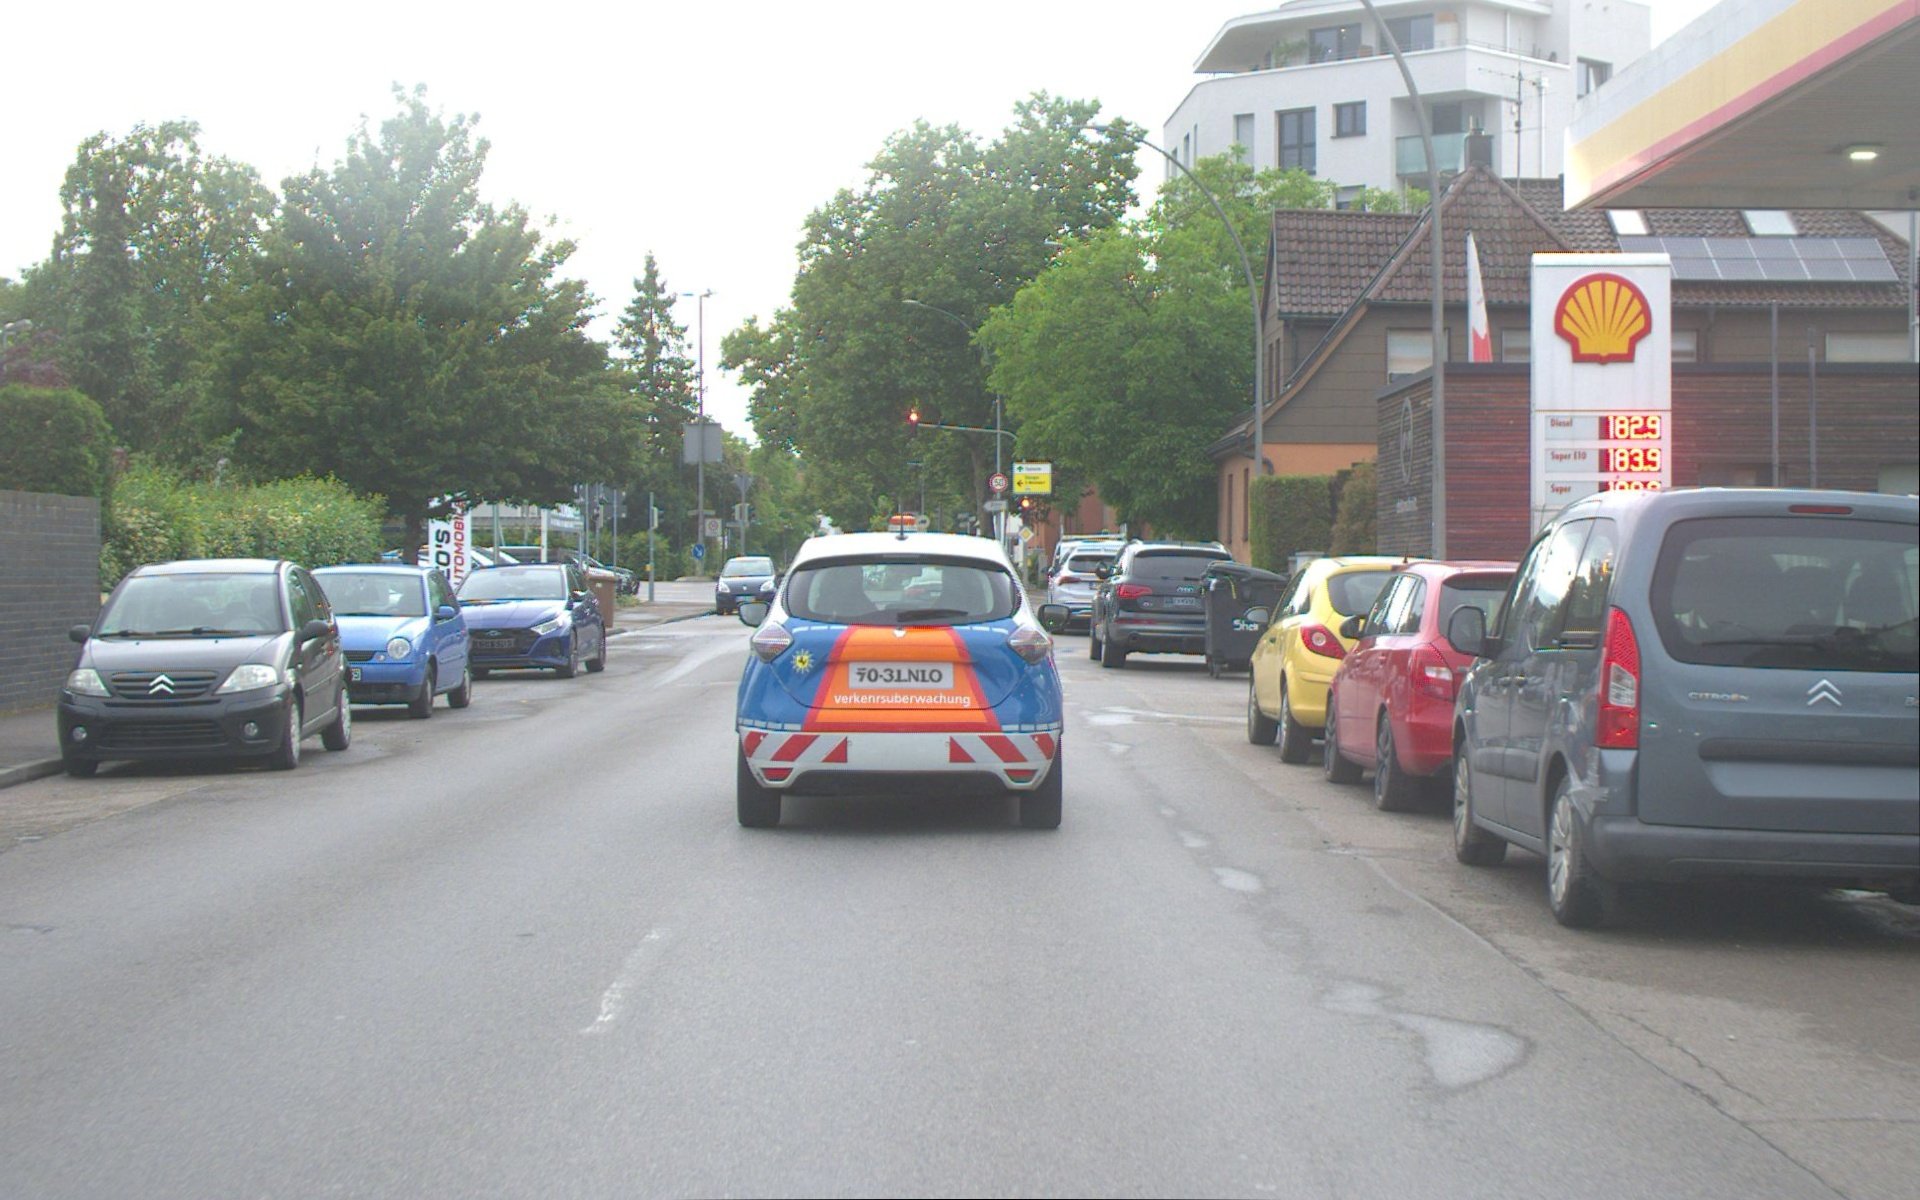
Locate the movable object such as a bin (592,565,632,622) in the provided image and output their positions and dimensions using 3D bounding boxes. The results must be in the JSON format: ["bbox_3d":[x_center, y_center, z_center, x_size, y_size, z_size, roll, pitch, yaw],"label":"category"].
[{"bbox_3d":[-6.982,-0.126,68.997,0.708,1.126,0.735,1,1,0],"label":"movable object such as a bin"}]

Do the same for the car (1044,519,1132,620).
[{"bbox_3d":[2.760,-0.692,74.021,1.778,2.022,4.754,2,2,2],"label":"car"}]

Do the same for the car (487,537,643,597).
[{"bbox_3d":[-10.800,-0.908,94.229,3.987,1.538,1.803,1,1,2],"label":"car"}]

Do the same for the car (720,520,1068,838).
[{"bbox_3d":[-0.349,0.352,19.328,1.746,1.575,4.000,0,2,0],"label":"car"}]

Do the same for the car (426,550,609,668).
[{"bbox_3d":[-5.603,0.080,43.939,1.807,1.398,3.945,-1,1,0],"label":"car"}]

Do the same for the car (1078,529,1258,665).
[{"bbox_3d":[2.770,-0.086,46.739,2.091,1.656,4.559,1,2,-1],"label":"car"}]

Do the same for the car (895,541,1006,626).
[{"bbox_3d":[-0.163,-0.368,70.159,1.994,1.568,4.000,2,2,3],"label":"car"}]

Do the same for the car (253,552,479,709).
[{"bbox_3d":[-5.704,0.257,33.353,1.545,1.398,3.597,-1,1,0],"label":"car"}]

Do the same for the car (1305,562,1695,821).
[{"bbox_3d":[3.140,0.475,20.712,1.656,1.372,4.025,0,1,-1],"label":"car"}]

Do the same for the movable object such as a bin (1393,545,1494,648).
[{"bbox_3d":[6.387,-0.056,45.489,1.101,1.335,1.385,0,1,-2],"label":"movable object such as a bin"}]

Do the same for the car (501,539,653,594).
[{"bbox_3d":[-10.779,-0.947,96.895,3.987,1.436,1.803,1,1,2],"label":"car"}]

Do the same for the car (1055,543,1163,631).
[{"bbox_3d":[2.905,-0.288,67.898,1.865,1.659,4.320,1,1,-1],"label":"car"}]

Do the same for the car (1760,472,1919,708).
[{"bbox_3d":[7.912,-0.116,27.679,1.819,1.753,4.001,0,1,-3],"label":"car"}]

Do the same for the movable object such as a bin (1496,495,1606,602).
[{"bbox_3d":[7.443,-0.651,43.368,1.101,1.335,1.385,0,1,-2],"label":"movable object such as a bin"}]

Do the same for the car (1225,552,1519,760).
[{"bbox_3d":[2.966,0.355,25.438,1.656,1.397,3.802,0,1,-1],"label":"car"}]

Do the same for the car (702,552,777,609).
[{"bbox_3d":[-5.755,-0.526,90.065,1.626,1.428,3.683,0,1,1],"label":"car"}]

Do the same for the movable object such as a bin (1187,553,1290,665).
[{"bbox_3d":[3.505,0.100,43.370,1.126,1.383,1.504,0,1,-2],"label":"movable object such as a bin"}]

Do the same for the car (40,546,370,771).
[{"bbox_3d":[-5.498,0.370,25.440,1.608,1.501,3.707,-1,1,0],"label":"car"}]

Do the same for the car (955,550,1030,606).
[{"bbox_3d":[0.888,-0.643,96.934,1.794,1.423,4.001,1,2,-4],"label":"car"}]

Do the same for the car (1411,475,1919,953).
[{"bbox_3d":[3.162,0.395,15.059,1.656,1.732,4.445,3,1,-1],"label":"car"}]
